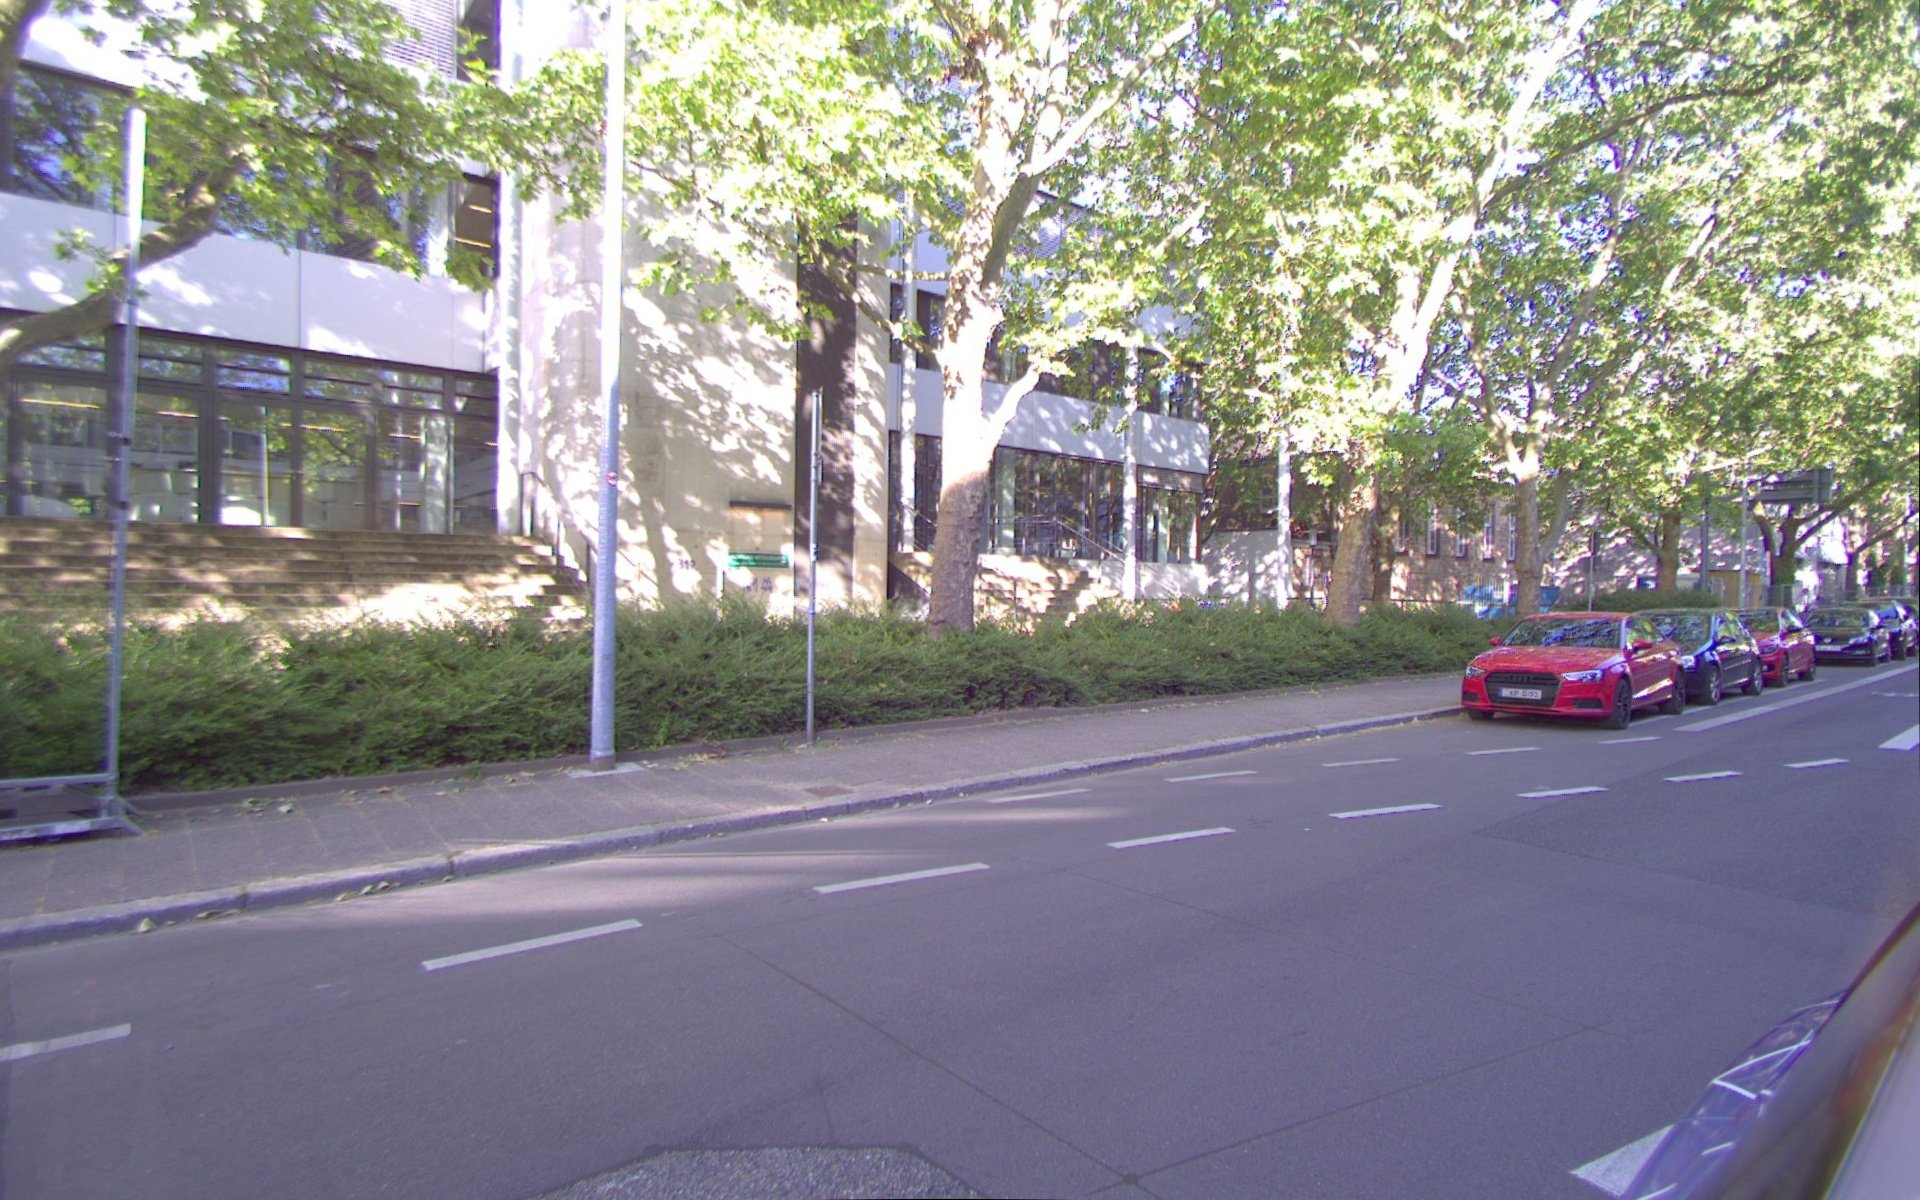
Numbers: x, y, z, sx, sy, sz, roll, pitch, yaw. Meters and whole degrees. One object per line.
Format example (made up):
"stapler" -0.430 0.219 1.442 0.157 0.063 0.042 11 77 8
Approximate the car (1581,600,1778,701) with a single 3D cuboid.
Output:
"car" 11.858 0.740 16.597 3.841 1.451 1.753 0 -1 -41

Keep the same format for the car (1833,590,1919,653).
"car" 26.722 0.587 29.184 4.101 1.674 1.753 0 -1 -41

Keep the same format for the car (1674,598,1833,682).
"car" 15.710 0.721 19.973 3.841 1.486 1.753 0 -1 -41

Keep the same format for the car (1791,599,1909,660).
"car" 22.955 0.717 26.072 3.841 1.451 1.753 0 -1 -41

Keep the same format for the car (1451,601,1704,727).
"car" 8.282 0.741 13.452 3.930 1.427 1.753 0 -1 -41

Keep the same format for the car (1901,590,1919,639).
"car" 36.202 0.517 37.271 4.370 1.750 1.753 0 -1 -41

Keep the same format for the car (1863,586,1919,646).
"car" 30.979 0.487 32.975 4.370 1.843 1.753 0 -1 -41
